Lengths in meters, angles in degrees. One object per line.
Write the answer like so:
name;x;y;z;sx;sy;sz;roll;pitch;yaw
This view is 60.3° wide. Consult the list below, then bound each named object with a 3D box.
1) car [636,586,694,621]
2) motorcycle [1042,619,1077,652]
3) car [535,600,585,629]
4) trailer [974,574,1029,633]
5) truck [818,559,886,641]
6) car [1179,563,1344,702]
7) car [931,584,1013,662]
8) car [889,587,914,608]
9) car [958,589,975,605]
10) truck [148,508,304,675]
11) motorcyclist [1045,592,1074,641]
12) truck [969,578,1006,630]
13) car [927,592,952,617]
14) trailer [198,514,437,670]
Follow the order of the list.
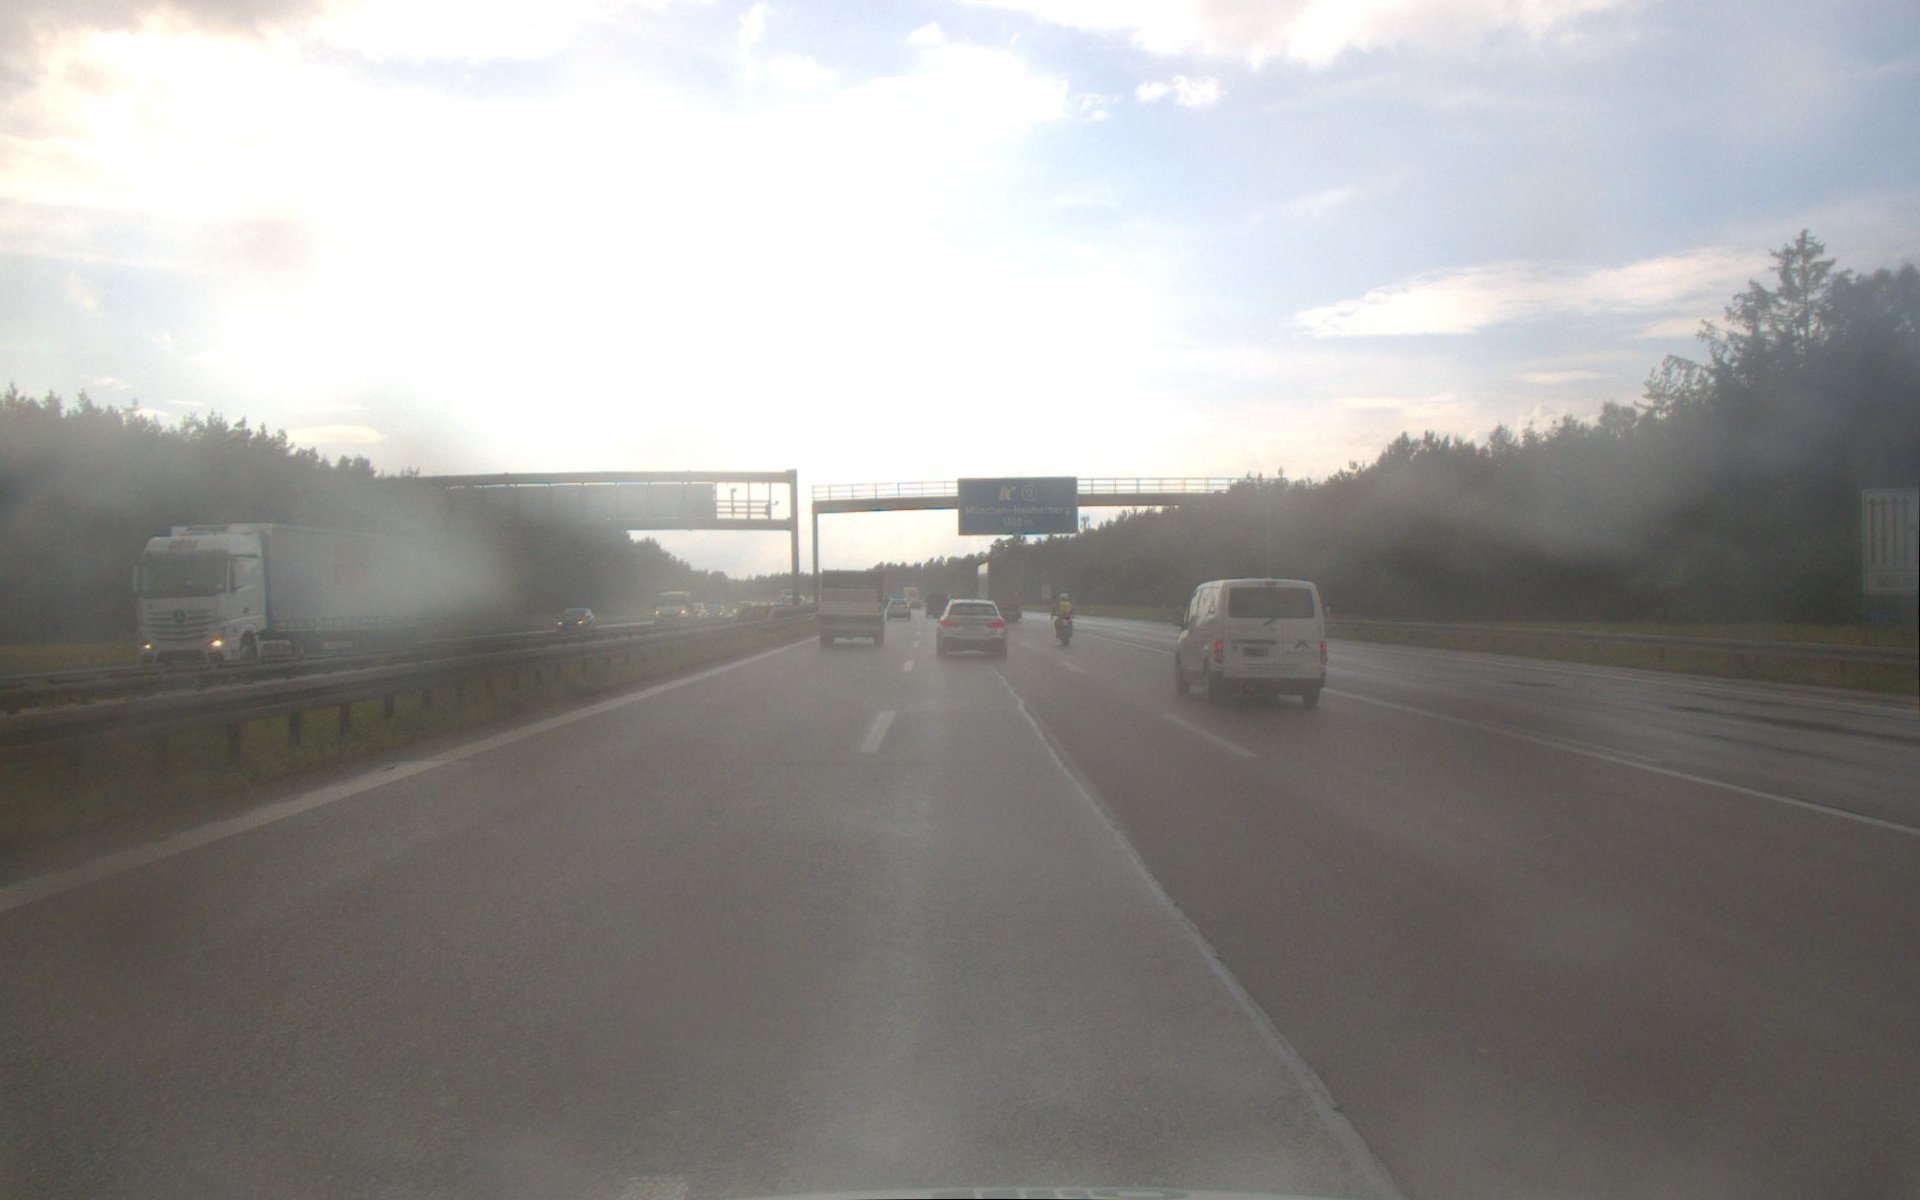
car;-18.090;0.218;101.743;2.236;2.049;6.739;1;0;1
motorcycle;3.314;1.188;55.539;0.979;1.049;2.173;0;0;-2
car;-21.402;0.749;88.646;1.638;1.485;4.560;-1;0;-2
trailer;2.952;0.273;120.979;2.279;4.072;13.393;0;0;-6
truck;-3.488;0.006;53.431;2.095;2.533;5.308;0;0;-4
car;4.587;0.463;25.870;1.922;1.935;4.883;1;0;3
car;0.334;0.558;43.919;2.035;1.918;5.011;1;0;1
car;-4.164;-0.162;118.171;1.794;1.492;3.998;0;0;-2
car;0.786;-0.380;212.285;1.954;2.049;3.997;1;0;-3
truck;-20.121;-0.212;45.592;2.095;4.312;4.706;1;0;0
motorcyclist;3.337;0.552;55.417;0.873;1.643;0.958;0;0;-2
truck;2.126;0.341;128.631;2.250;3.936;5.384;0;0;-6
car;-1.737;0.335;137.617;1.870;2.049;3.997;0;0;-3
trailer;-20.206;-0.205;53.370;2.055;4.315;14.623;1;0;-1
